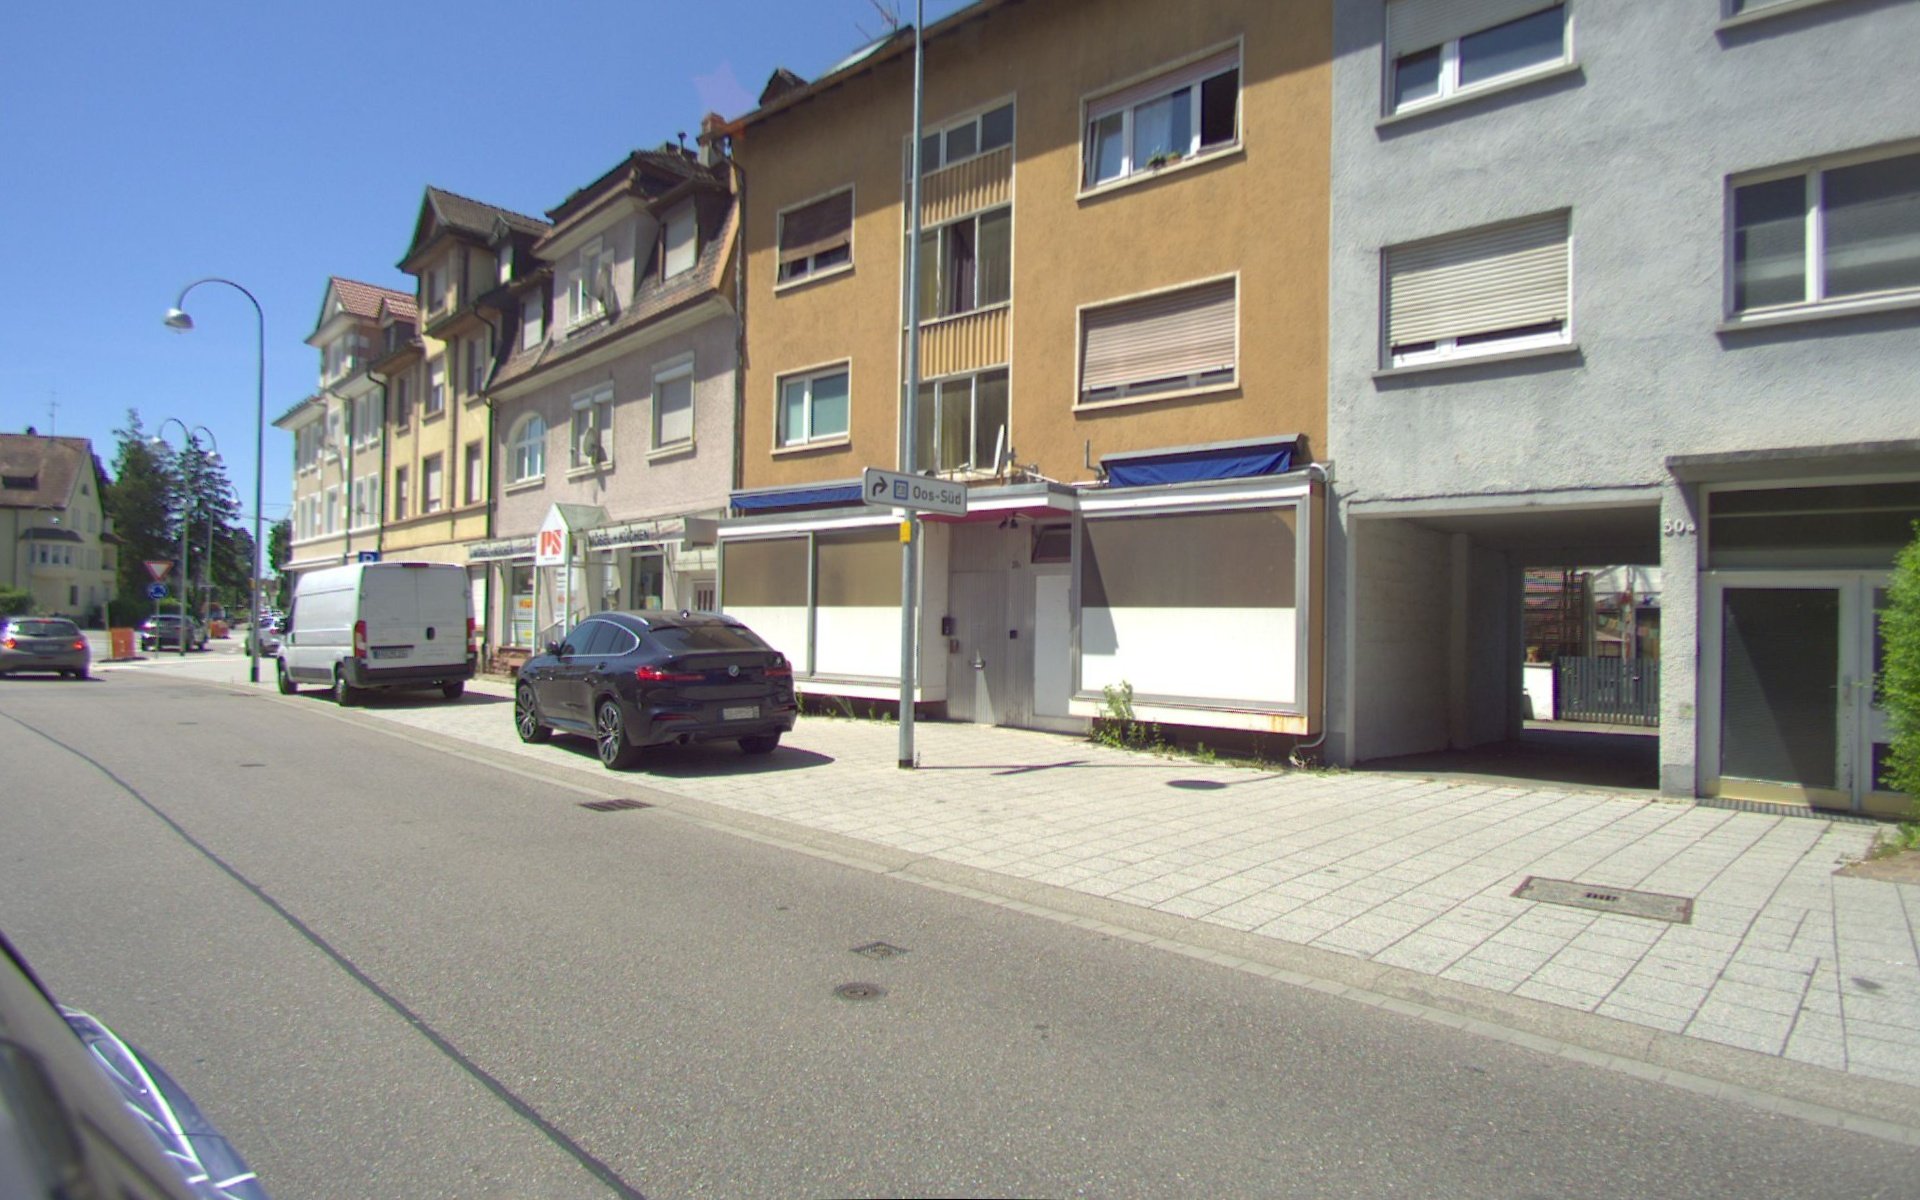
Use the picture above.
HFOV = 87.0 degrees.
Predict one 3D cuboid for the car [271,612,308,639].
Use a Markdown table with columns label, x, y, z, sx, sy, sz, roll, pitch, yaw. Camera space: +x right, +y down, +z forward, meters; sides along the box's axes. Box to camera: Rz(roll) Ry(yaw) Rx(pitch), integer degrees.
| label | x | y | z | sx | sy | sz | roll | pitch | yaw |
| --- | --- | --- | --- | --- | --- | --- | --- | --- | --- |
| car | -52.562 | 1.985 | 79.416 | 1.965 | 1.861 | 4.013 | 1 | 1 | -28 |

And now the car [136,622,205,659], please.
| label | x | y | z | sx | sy | sz | roll | pitch | yaw |
| --- | --- | --- | --- | --- | --- | --- | --- | --- | --- |
| car | -35.290 | 1.773 | 45.323 | 1.770 | 1.500 | 4.404 | 2 | -1 | -29 |

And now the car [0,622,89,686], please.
| label | x | y | z | sx | sy | sz | roll | pitch | yaw |
| --- | --- | --- | --- | --- | --- | --- | --- | --- | --- |
| car | -22.272 | 1.287 | 24.247 | 4.001 | 1.422 | 1.712 | -2 | -5 | 44 |

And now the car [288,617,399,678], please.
| label | x | y | z | sx | sy | sz | roll | pitch | yaw |
| --- | --- | --- | --- | --- | --- | --- | --- | --- | --- |
| car | -17.320 | 1.274 | 28.358 | 1.774 | 1.553 | 4.118 | 1 | -1 | -44 |

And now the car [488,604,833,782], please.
| label | x | y | z | sx | sy | sz | roll | pitch | yaw |
| --- | --- | --- | --- | --- | --- | --- | --- | --- | --- |
| car | -3.744 | 0.909 | 11.893 | 2.059 | 1.627 | 5.117 | 0 | -1 | -40 |

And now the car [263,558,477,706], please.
| label | x | y | z | sx | sy | sz | roll | pitch | yaw |
| --- | --- | --- | --- | --- | --- | --- | --- | --- | --- |
| car | -11.668 | 0.560 | 19.764 | 6.120 | 2.468 | 2.095 | -1 | -1 | 45 |

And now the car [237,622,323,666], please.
| label | x | y | z | sx | sy | sz | roll | pitch | yaw |
| --- | --- | --- | --- | --- | --- | --- | --- | --- | --- |
| car | -25.240 | 1.575 | 37.494 | 1.773 | 1.514 | 4.950 | 1 | -2 | -44 |
